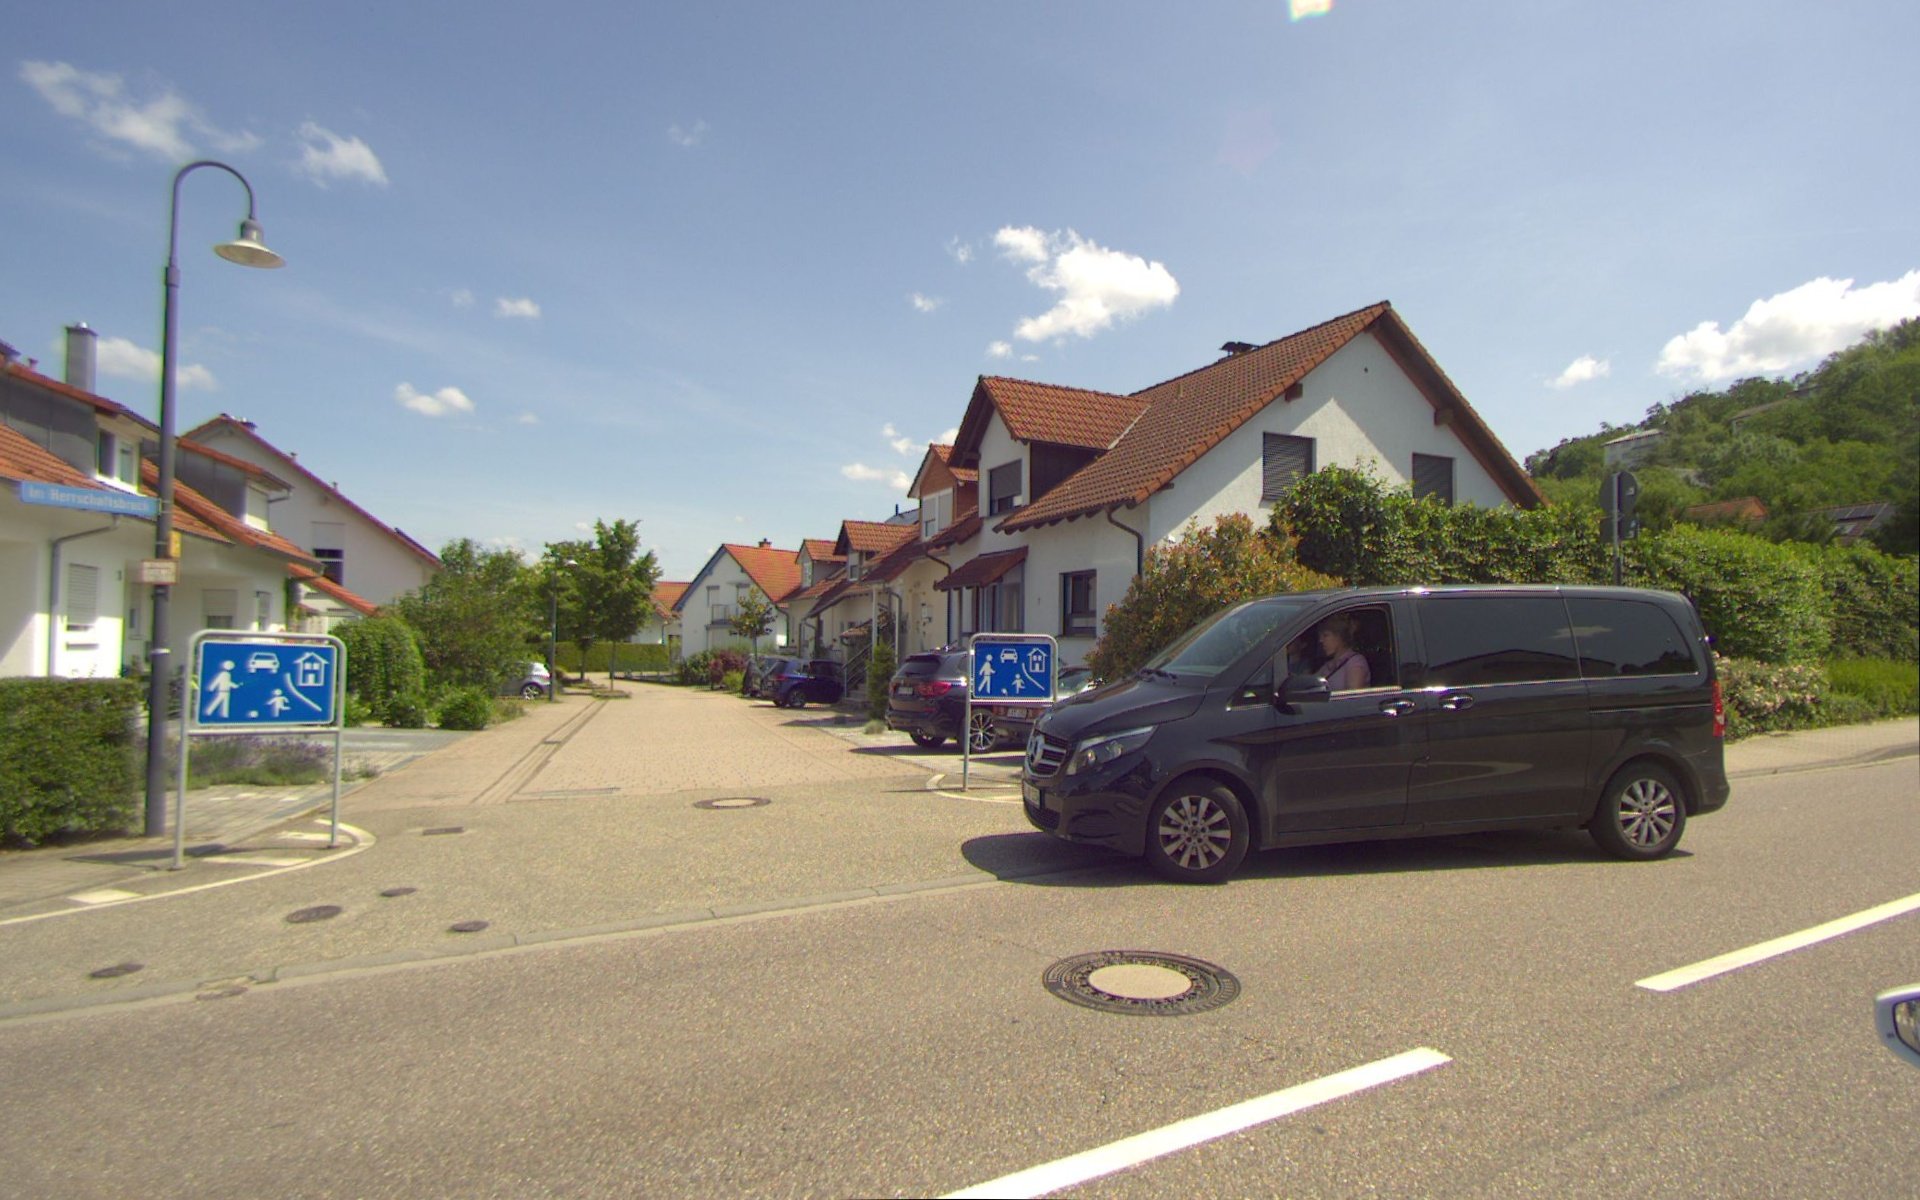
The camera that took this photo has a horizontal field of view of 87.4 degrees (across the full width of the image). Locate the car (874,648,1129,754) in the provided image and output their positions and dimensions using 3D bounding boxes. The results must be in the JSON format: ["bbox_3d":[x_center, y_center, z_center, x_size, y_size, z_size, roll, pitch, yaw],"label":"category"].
[{"bbox_3d":[0.718,1.604,16.762,3.953,1.570,1.758,1,-3,-30],"label":"car"}]

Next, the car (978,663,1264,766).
[{"bbox_3d":[2.394,1.610,14.799,3.948,1.302,1.655,1,-4,-27],"label":"car"}]

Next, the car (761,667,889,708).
[{"bbox_3d":[-4.374,2.812,32.563,3.775,1.200,1.761,1,-3,-25],"label":"car"}]

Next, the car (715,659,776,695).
[{"bbox_3d":[-8.989,3.187,41.918,1.747,1.407,3.806,1,-3,-24],"label":"car"}]

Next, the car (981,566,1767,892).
[{"bbox_3d":[2.795,0.812,7.285,4.979,1.876,1.997,0,-3,-11],"label":"car"}]

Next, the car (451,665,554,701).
[{"bbox_3d":[-16.138,2.910,35.497,3.234,1.200,1.494,1,-3,-25],"label":"car"}]
